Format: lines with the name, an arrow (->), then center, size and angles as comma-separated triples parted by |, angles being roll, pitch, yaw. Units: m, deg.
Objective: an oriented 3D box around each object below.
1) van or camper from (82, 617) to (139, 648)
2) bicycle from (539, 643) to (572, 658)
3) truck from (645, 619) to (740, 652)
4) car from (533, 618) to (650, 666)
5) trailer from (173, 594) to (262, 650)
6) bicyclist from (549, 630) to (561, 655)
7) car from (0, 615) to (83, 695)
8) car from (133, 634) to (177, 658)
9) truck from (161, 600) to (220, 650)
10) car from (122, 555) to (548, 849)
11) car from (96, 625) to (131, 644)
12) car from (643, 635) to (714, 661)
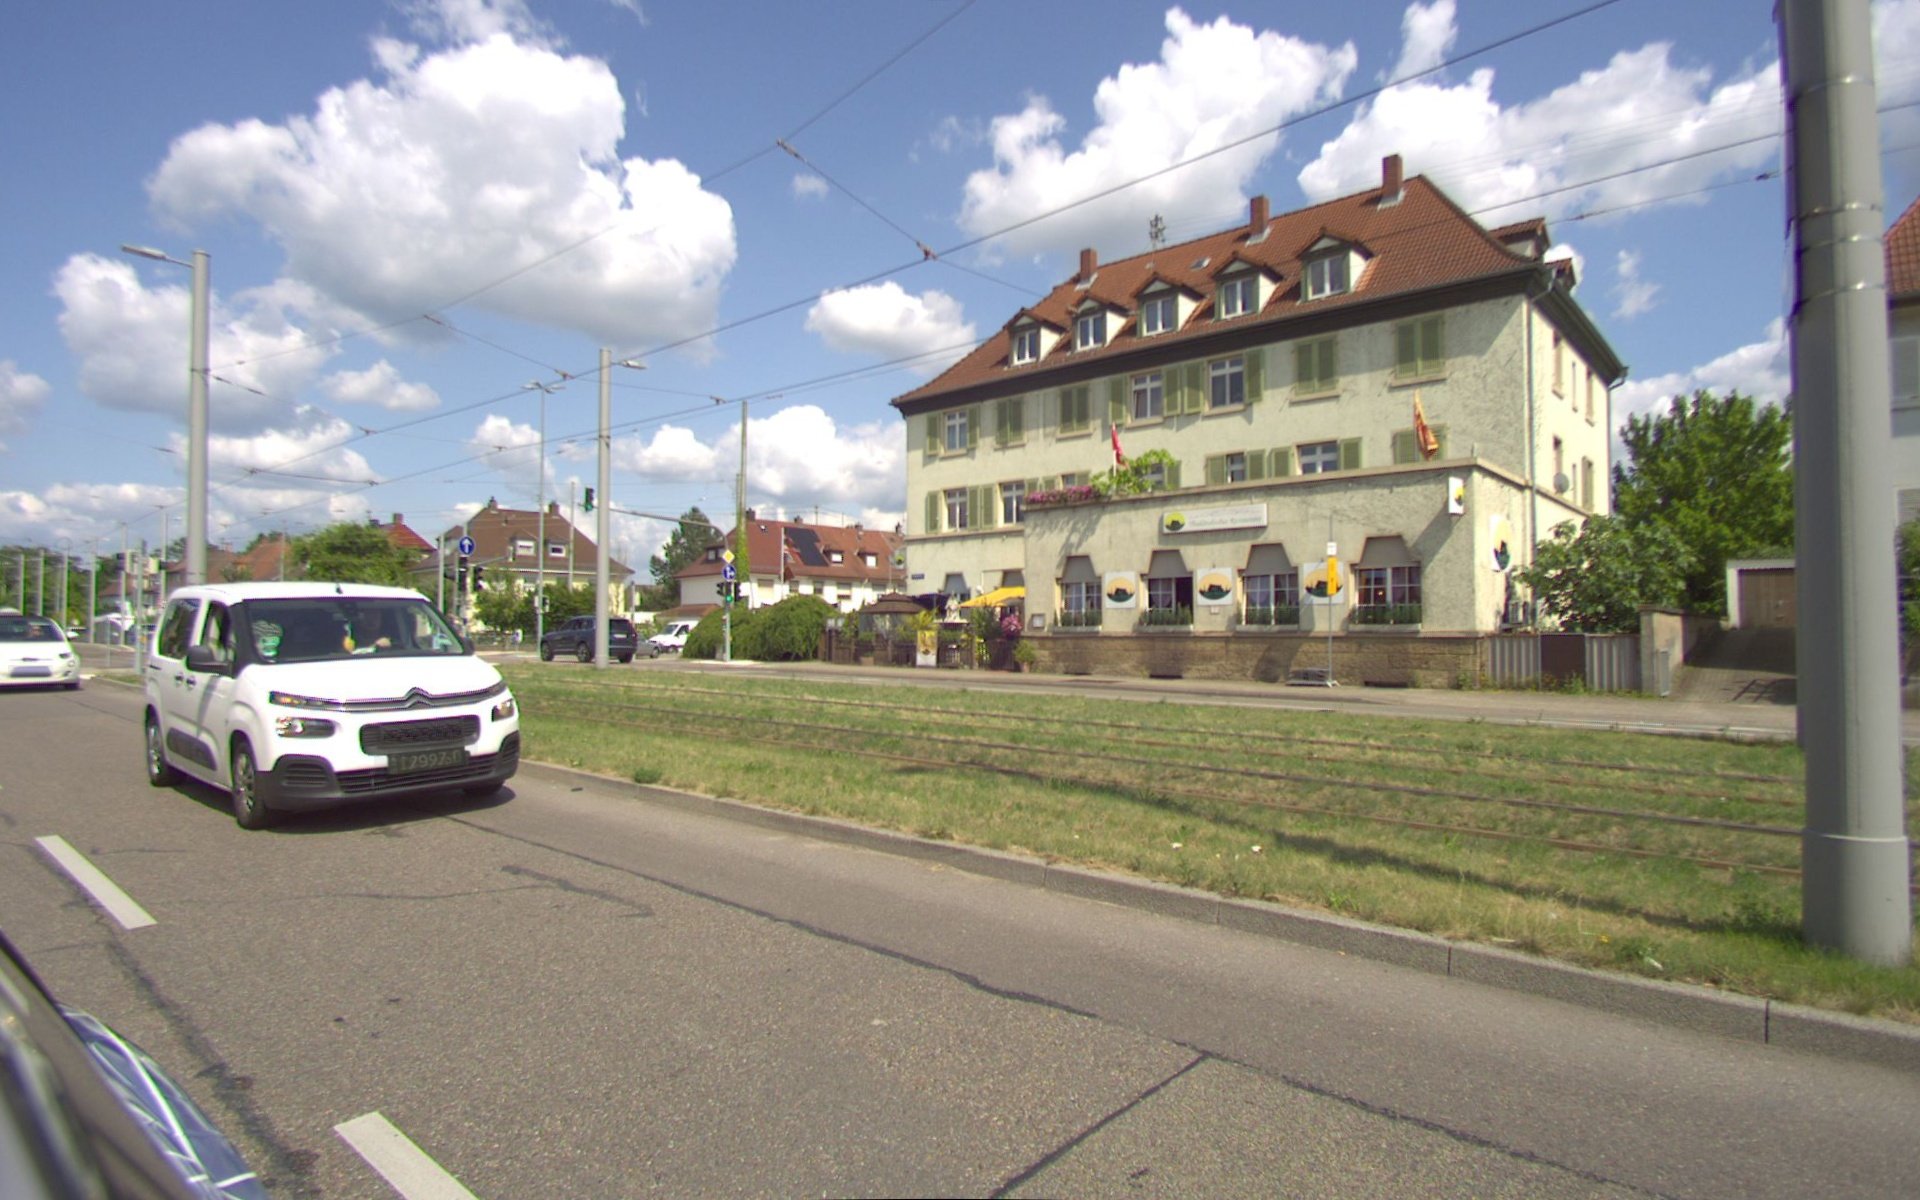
van or camper -> -84.674, 3.257, 100.855 | 7.734, 2.952, 2.304 | -1, -2, 34
bicycle -> -25.241, 3.171, 63.167 | 0.602, 0.841, 1.784 | -1, -1, 42
truck -> -17.567, 2.301, 66.781 | 1.690, 1.936, 6.117 | -1, -1, 43
car -> -14.160, 1.593, 38.733 | 4.932, 1.725, 1.994 | -1, -3, 40
trailer -> -57.022, 1.814, 77.525 | 12.828, 3.851, 2.572 | -3, -5, 41
bicyclist -> -25.274, 2.658, 63.151 | 0.602, 1.509, 0.494 | -1, -1, 43
car -> -19.536, 1.100, 20.786 | 3.388, 1.515, 1.660 | -2, -1, 38
car -> -63.523, 3.607, 79.856 | 4.709, 1.829, 1.776 | -1, -3, 41
truck -> -62.733, 2.081, 82.445 | 5.664, 3.851, 2.571 | -3, -6, 42
car -> -5.330, 0.661, 8.382 | 4.326, 1.829, 1.776 | -1, -1, 40
car -> -74.810, 3.054, 89.377 | 4.471, 1.649, 1.775 | -1, -3, 43
car -> -16.174, 2.764, 58.459 | 1.786, 1.397, 4.443 | 0, -2, 18
